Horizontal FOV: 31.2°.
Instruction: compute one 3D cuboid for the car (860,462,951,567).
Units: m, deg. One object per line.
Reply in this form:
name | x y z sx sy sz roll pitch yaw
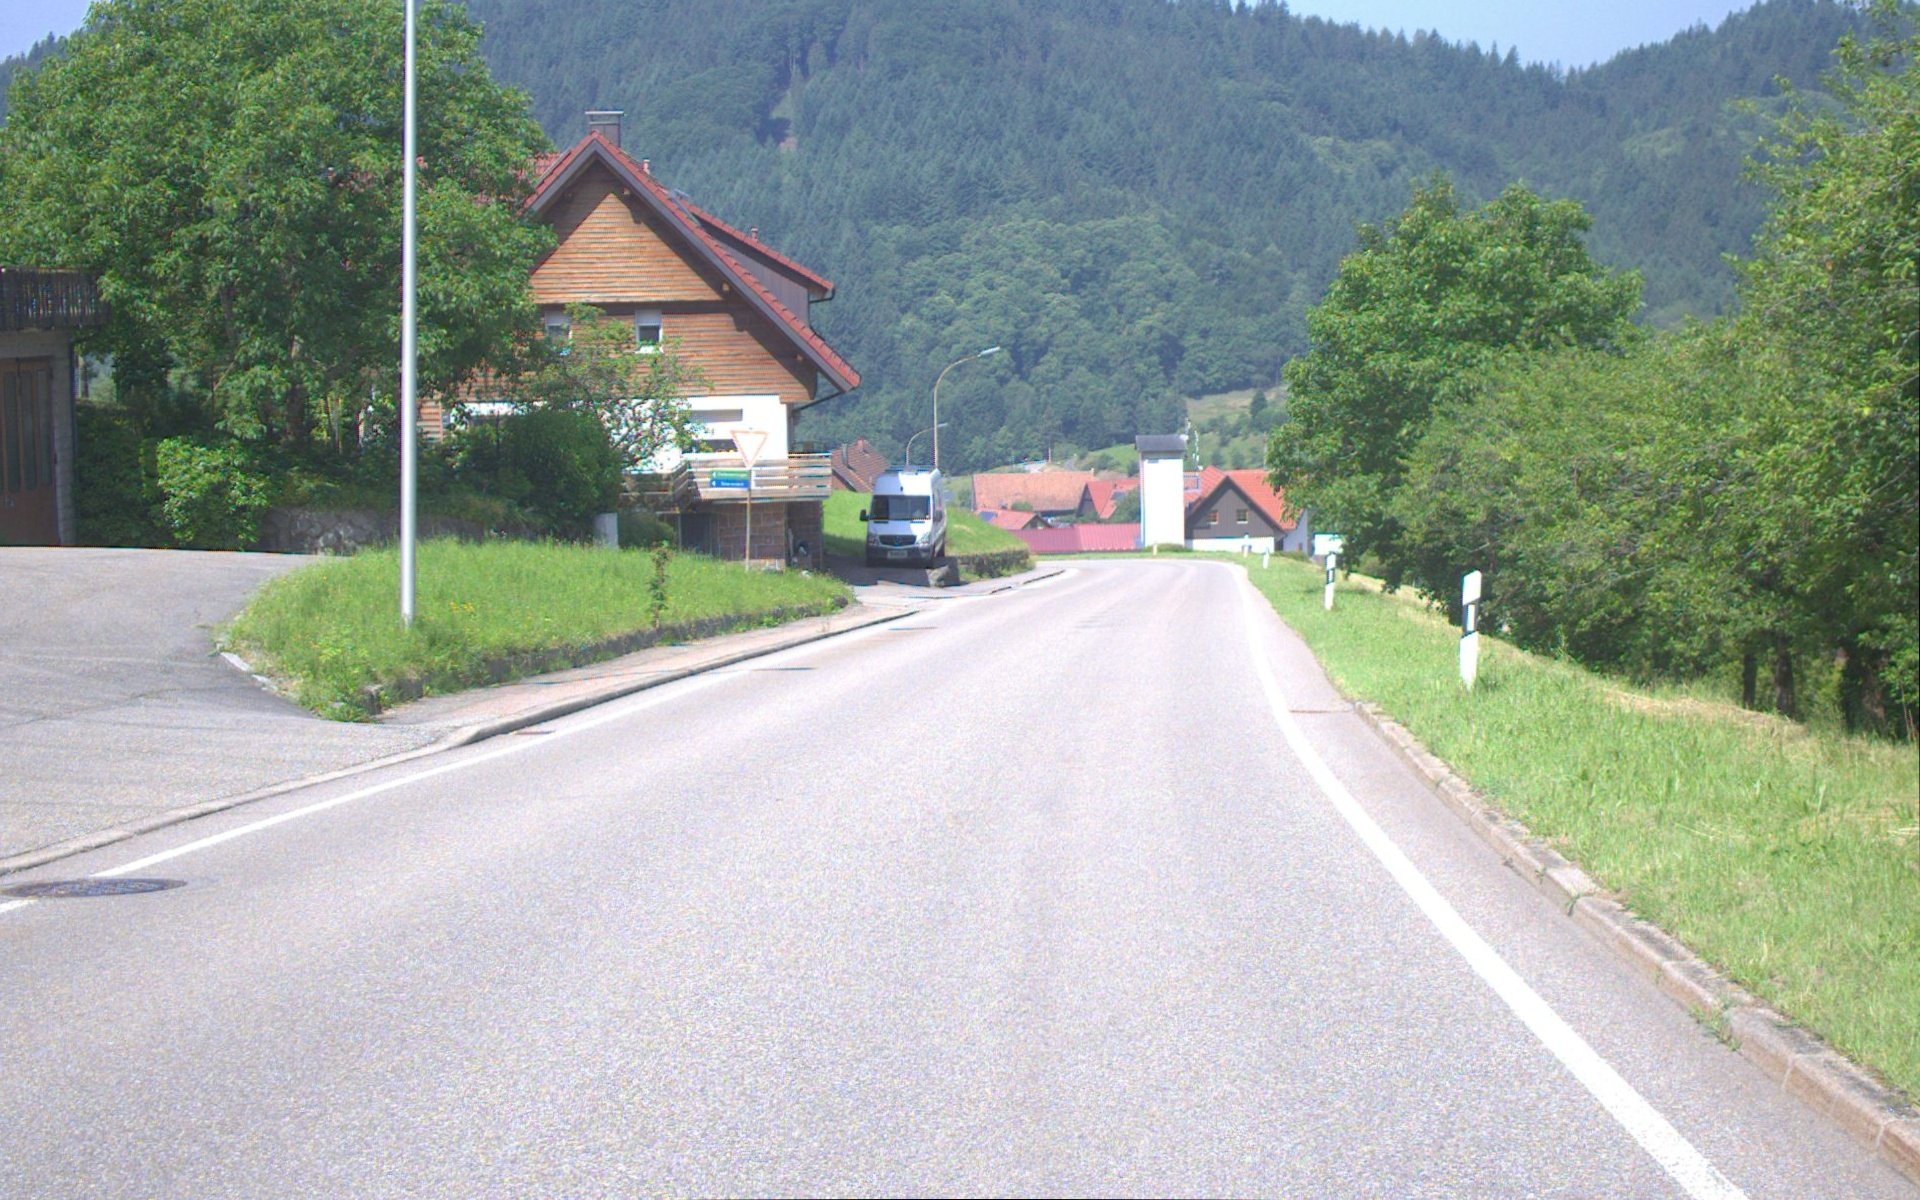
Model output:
car | -1.552 -2.574 100.939 2.067 2.679 7.175 -1 4 4
